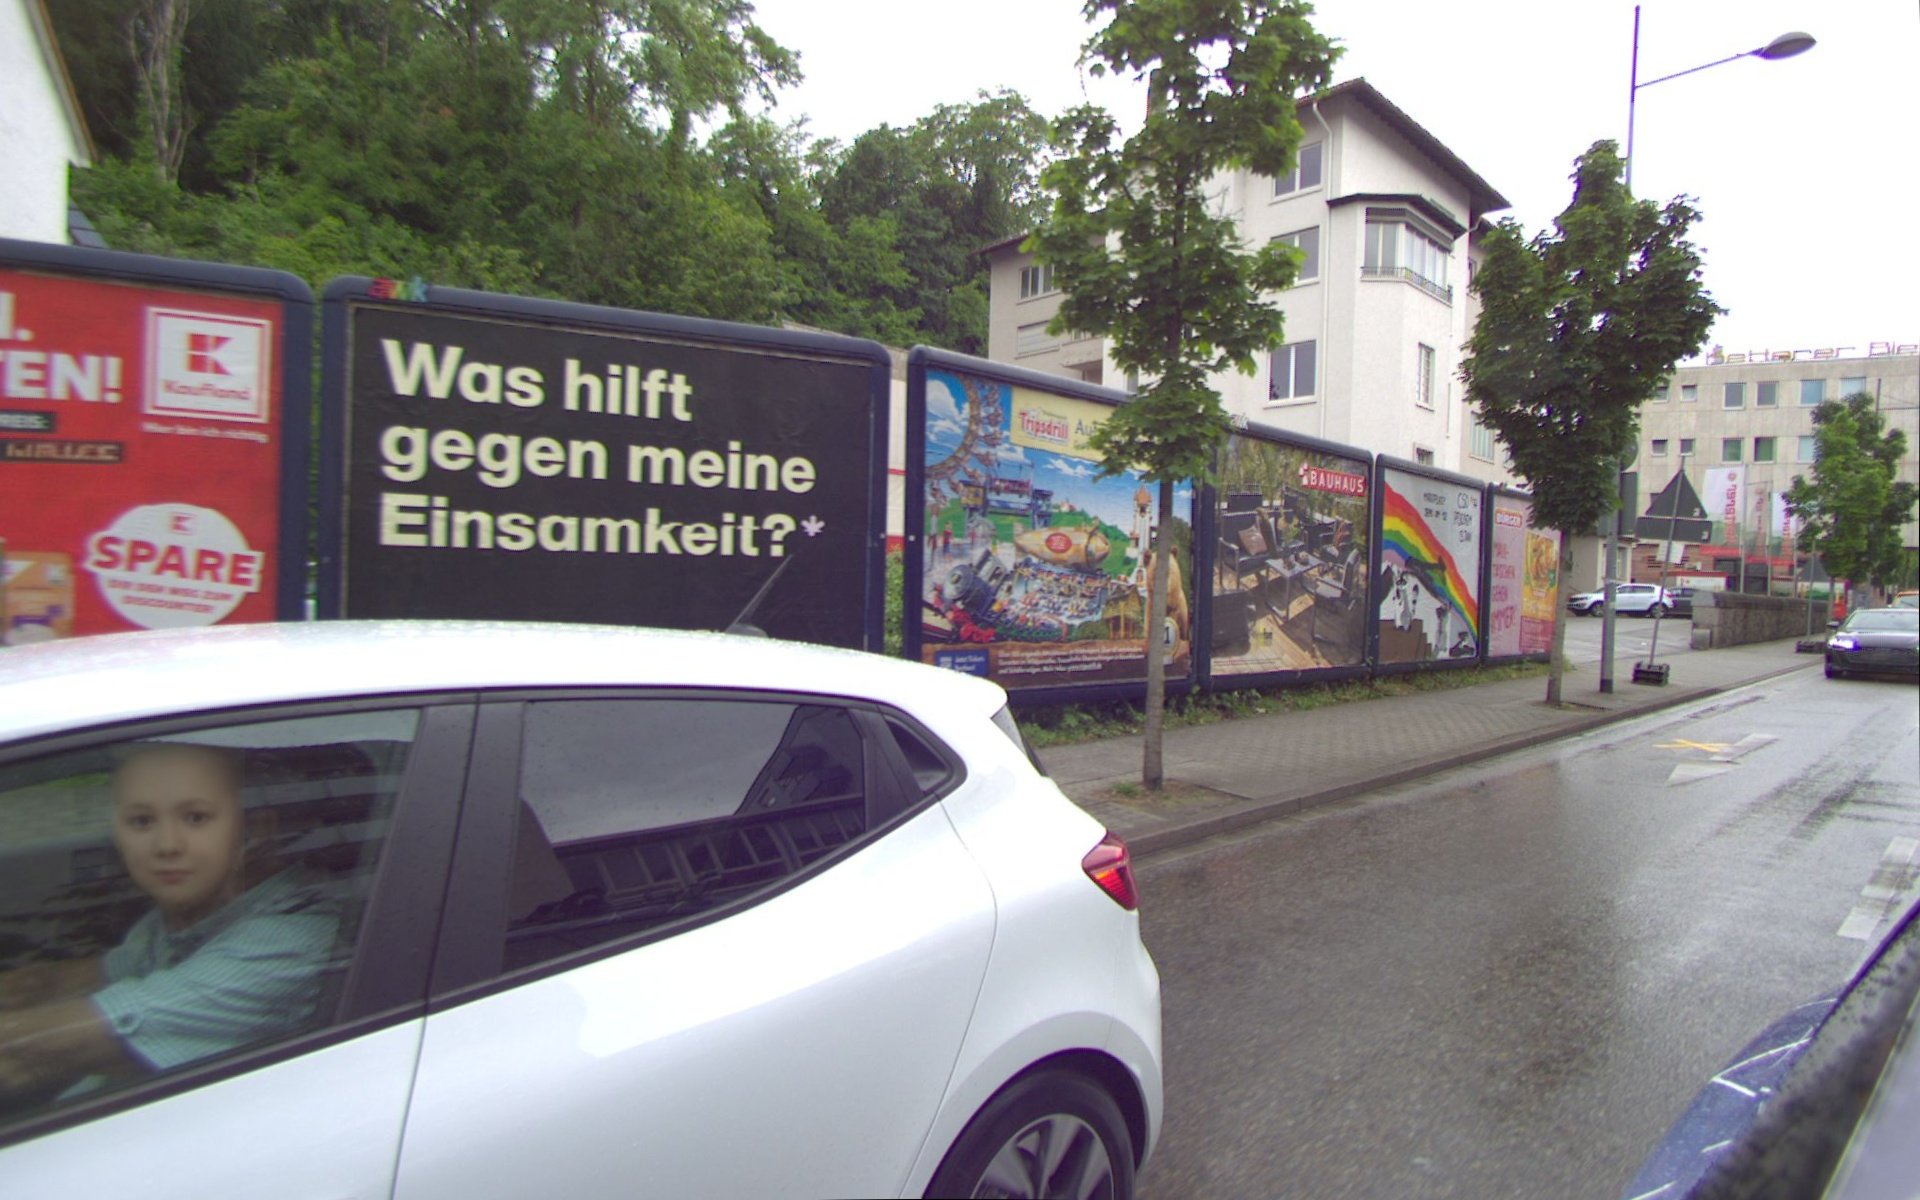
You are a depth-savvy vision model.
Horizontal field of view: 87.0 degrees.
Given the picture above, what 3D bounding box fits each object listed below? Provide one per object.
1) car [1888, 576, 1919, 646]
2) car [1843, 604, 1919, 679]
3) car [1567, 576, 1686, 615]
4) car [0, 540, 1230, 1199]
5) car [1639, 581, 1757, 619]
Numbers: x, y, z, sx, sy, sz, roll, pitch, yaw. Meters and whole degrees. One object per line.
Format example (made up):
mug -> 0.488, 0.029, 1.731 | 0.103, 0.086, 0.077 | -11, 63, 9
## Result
car -> 31.719, 0.318, 32.487 | 5.830, 2.112, 2.197 | -1, 2, -41
car -> 19.139, 0.780, 20.386 | 1.808, 1.356, 4.209 | 0, 0, 44
car -> 31.447, -0.221, 47.866 | 4.172, 1.595, 1.942 | 3, 0, 7
car -> -1.470, 0.643, 1.493 | 3.931, 1.420, 1.680 | 0, 4, -42
car -> 36.231, 0.002, 49.790 | 4.180, 1.595, 1.938 | 3, 0, 12
